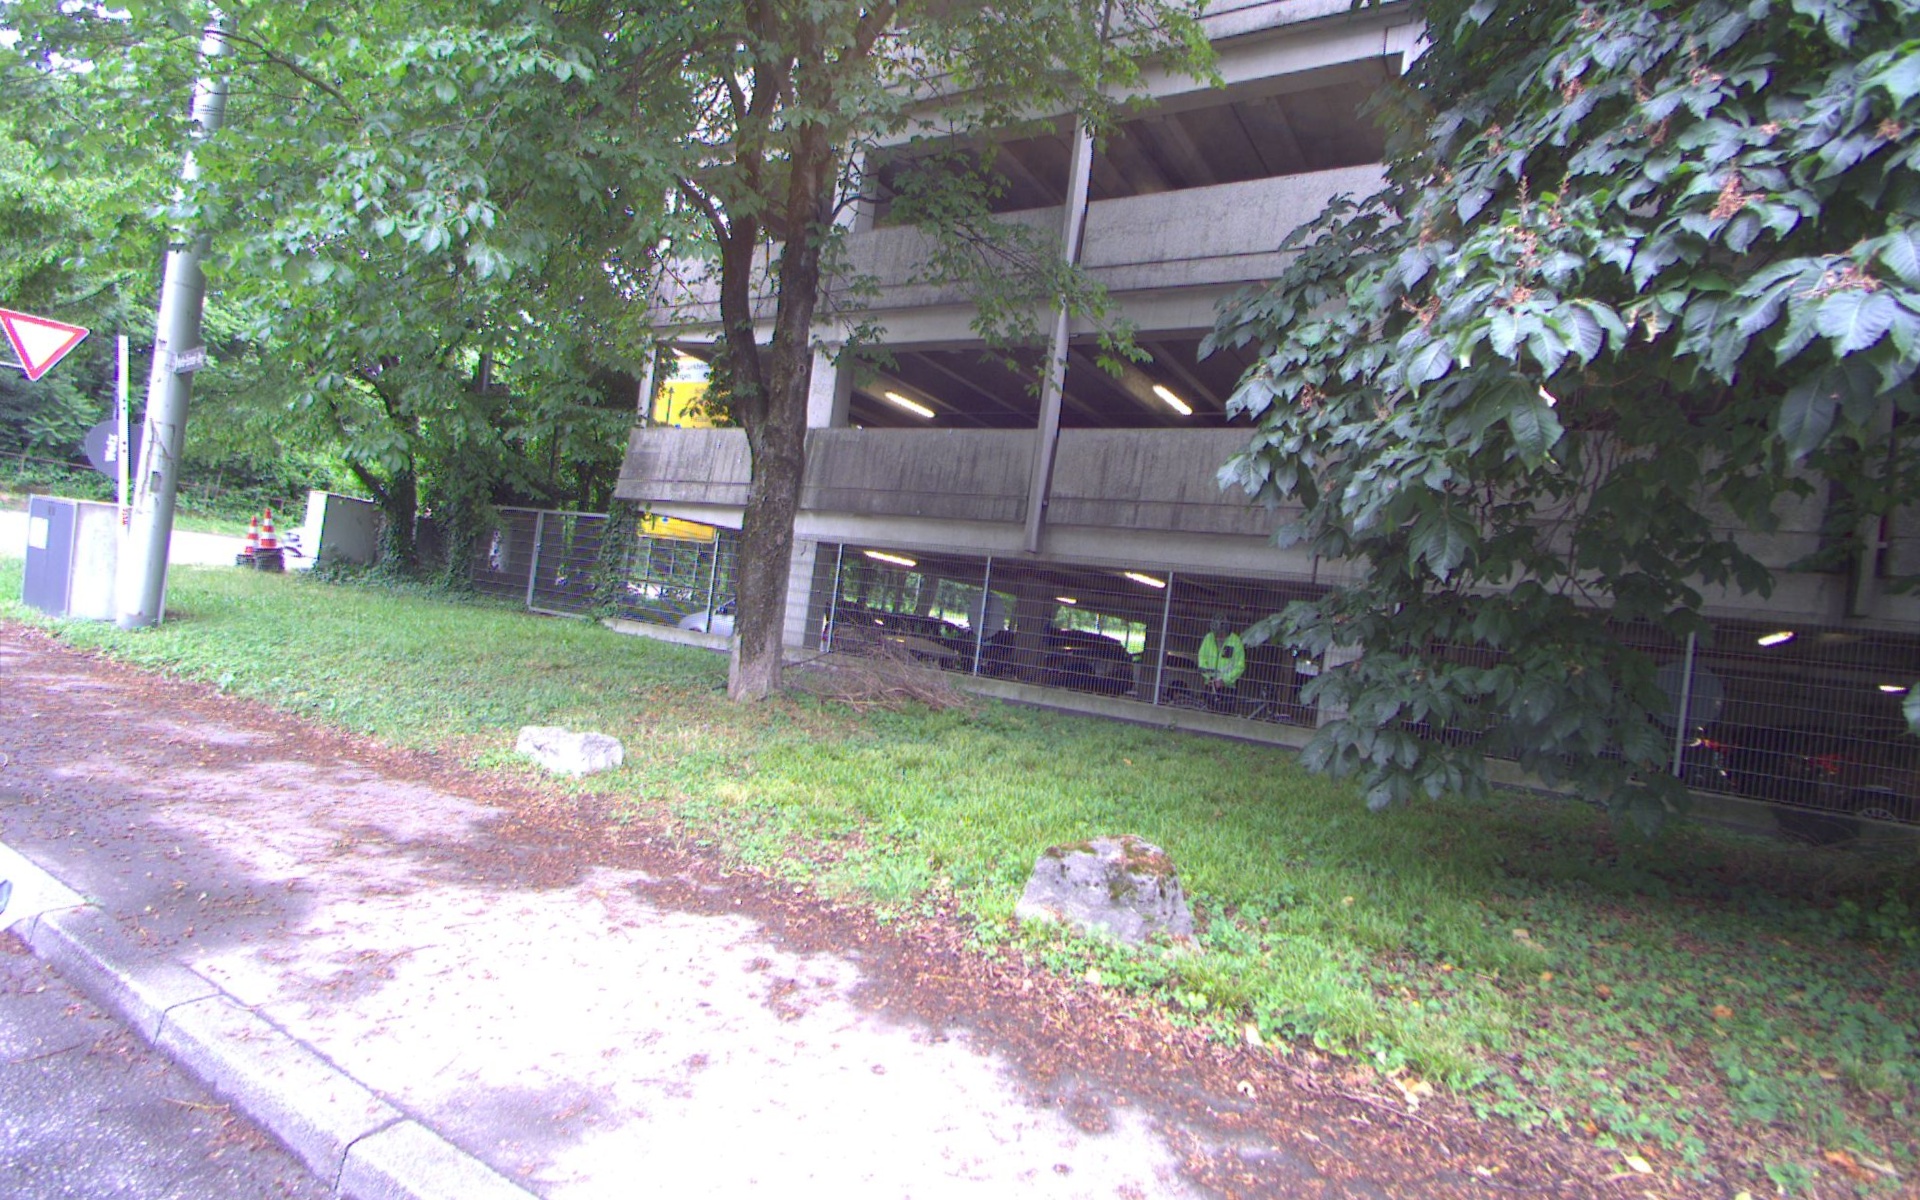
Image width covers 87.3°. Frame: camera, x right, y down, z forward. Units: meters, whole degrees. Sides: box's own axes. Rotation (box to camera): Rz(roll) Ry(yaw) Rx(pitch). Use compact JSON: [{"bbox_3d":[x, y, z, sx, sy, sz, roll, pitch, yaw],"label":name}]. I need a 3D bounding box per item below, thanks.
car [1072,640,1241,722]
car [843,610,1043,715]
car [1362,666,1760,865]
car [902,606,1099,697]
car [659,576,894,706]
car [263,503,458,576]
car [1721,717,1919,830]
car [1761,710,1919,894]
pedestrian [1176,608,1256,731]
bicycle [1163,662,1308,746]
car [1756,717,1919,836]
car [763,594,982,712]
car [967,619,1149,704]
[{"bbox_3d":[6.133,2.521,31.554,4.658,1.855,1.923,6,-3,33],"label":"car"},{"bbox_3d":[-0.378,1.282,20.880,3.658,1.682,1.734,5,-3,32],"label":"car"},{"bbox_3d":[8.616,2.290,14.837,4.597,2.036,1.998,5,-3,31],"label":"car"},{"bbox_3d":[0.919,1.179,23.217,3.934,1.569,1.998,5,-3,32],"label":"car"},{"bbox_3d":[-3.117,0.658,16.898,3.658,1.727,1.484,5,-3,32],"label":"car"},{"bbox_3d":[-18.303,-1.796,30.963,1.803,1.349,4.759,10,-1,33],"label":"car"},{"bbox_3d":[16.596,3.242,18.652,3.640,1.625,1.721,5,-3,30],"label":"car"},{"bbox_3d":[12.666,2.655,12.469,3.935,2.036,1.997,5,-3,33],"label":"car"},{"bbox_3d":[2.982,0.814,11.694,0.626,1.332,0.642,5,-3,31],"label":"pedestrian"},{"bbox_3d":[3.114,1.166,11.379,1.469,0.744,0.448,6,-3,24],"label":"bicycle"},{"bbox_3d":[15.606,2.991,16.517,3.640,1.625,1.721,5,-3,30],"label":"car"},{"bbox_3d":[-1.672,0.974,18.824,3.707,1.727,1.584,5,-3,32],"label":"car"},{"bbox_3d":[2.435,1.529,25.155,3.934,1.569,1.998,5,-3,32],"label":"car"}]
